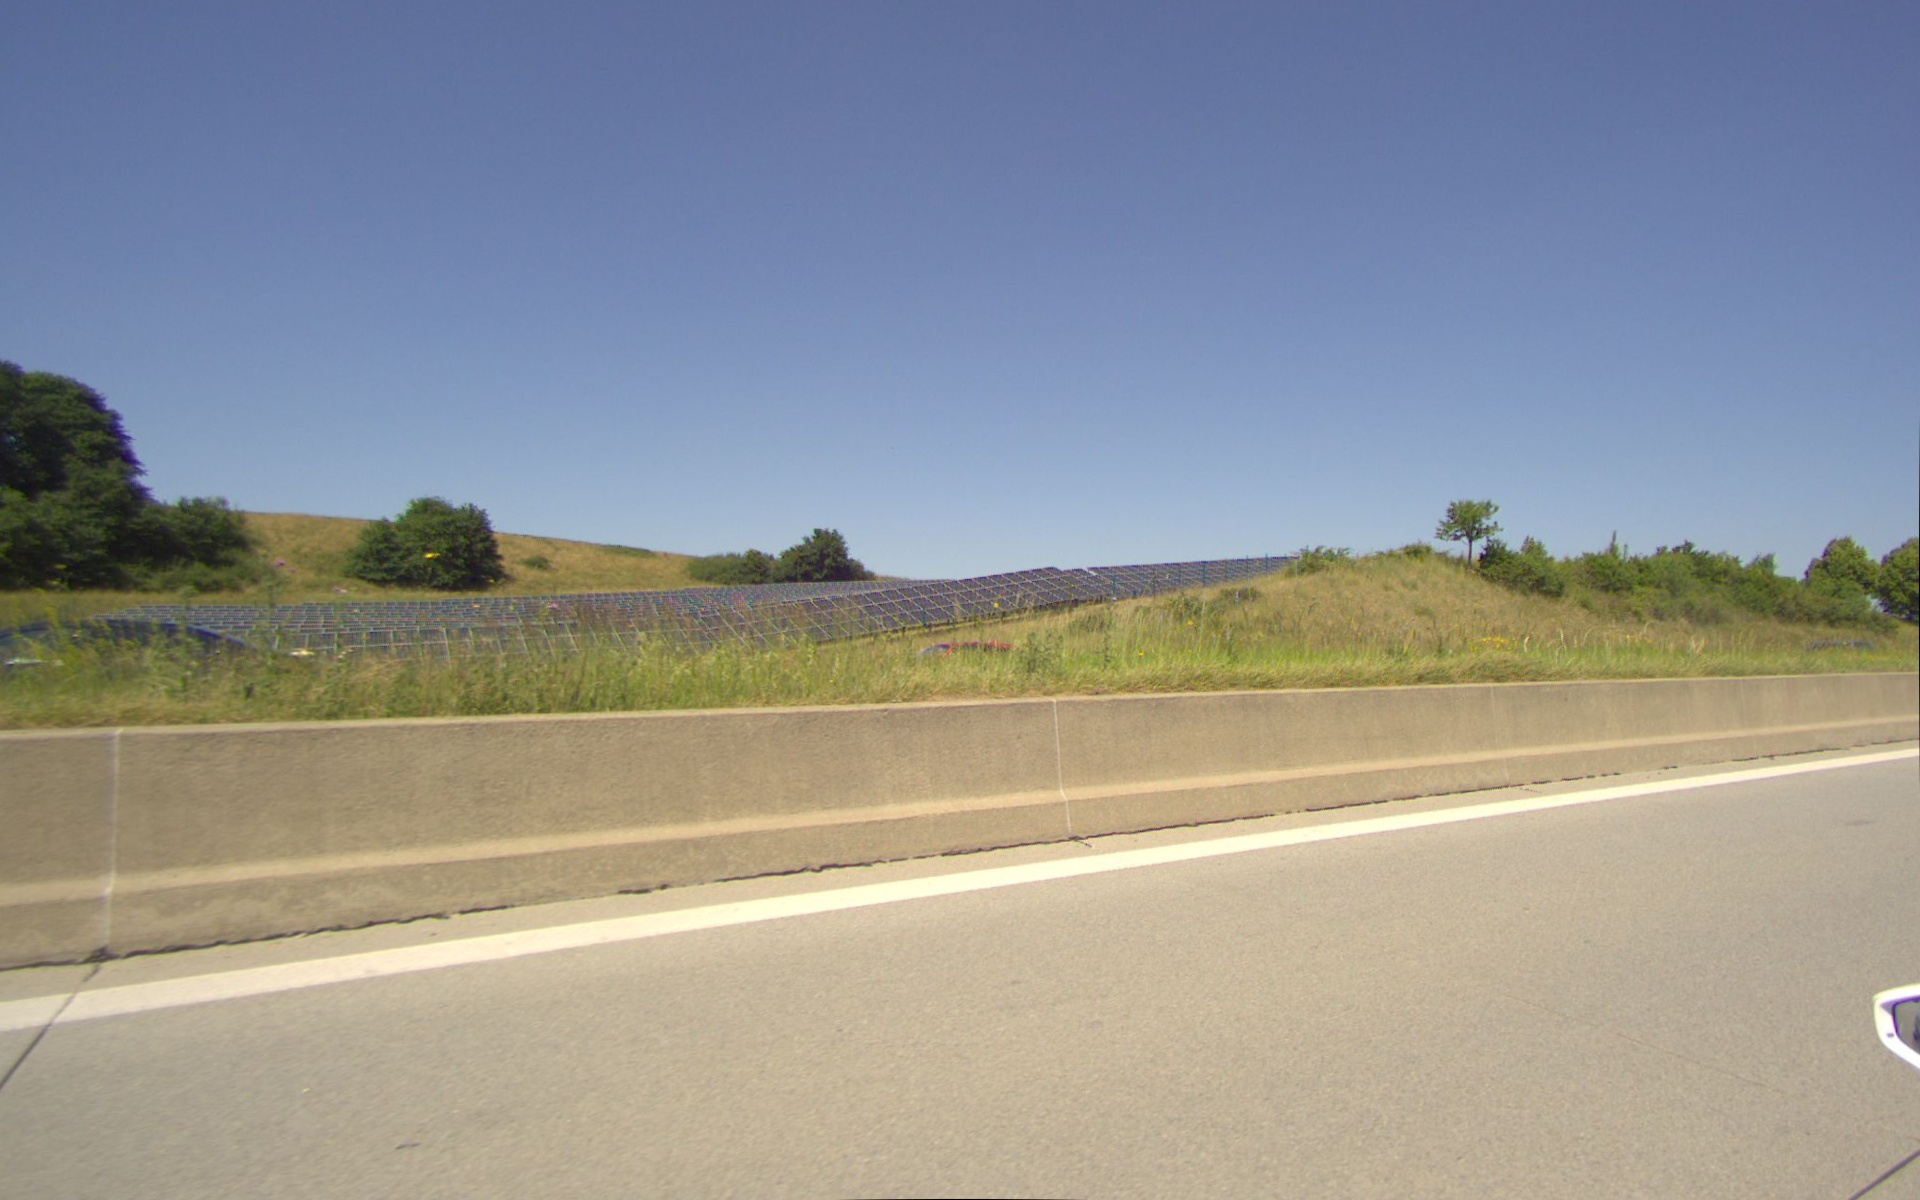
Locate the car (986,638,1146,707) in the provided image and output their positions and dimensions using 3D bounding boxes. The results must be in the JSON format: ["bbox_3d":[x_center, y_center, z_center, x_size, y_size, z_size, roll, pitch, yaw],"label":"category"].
[{"bbox_3d":[2.534,1.677,23.833,3.587,1.394,1.489,1,3,-31],"label":"car"}]

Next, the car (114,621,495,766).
[{"bbox_3d":[-7.619,1.027,12.002,3.587,1.394,1.489,1,3,-31],"label":"car"}]

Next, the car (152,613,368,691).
[{"bbox_3d":[-14.482,1.052,21.022,3.587,1.394,1.489,1,3,-31],"label":"car"}]
